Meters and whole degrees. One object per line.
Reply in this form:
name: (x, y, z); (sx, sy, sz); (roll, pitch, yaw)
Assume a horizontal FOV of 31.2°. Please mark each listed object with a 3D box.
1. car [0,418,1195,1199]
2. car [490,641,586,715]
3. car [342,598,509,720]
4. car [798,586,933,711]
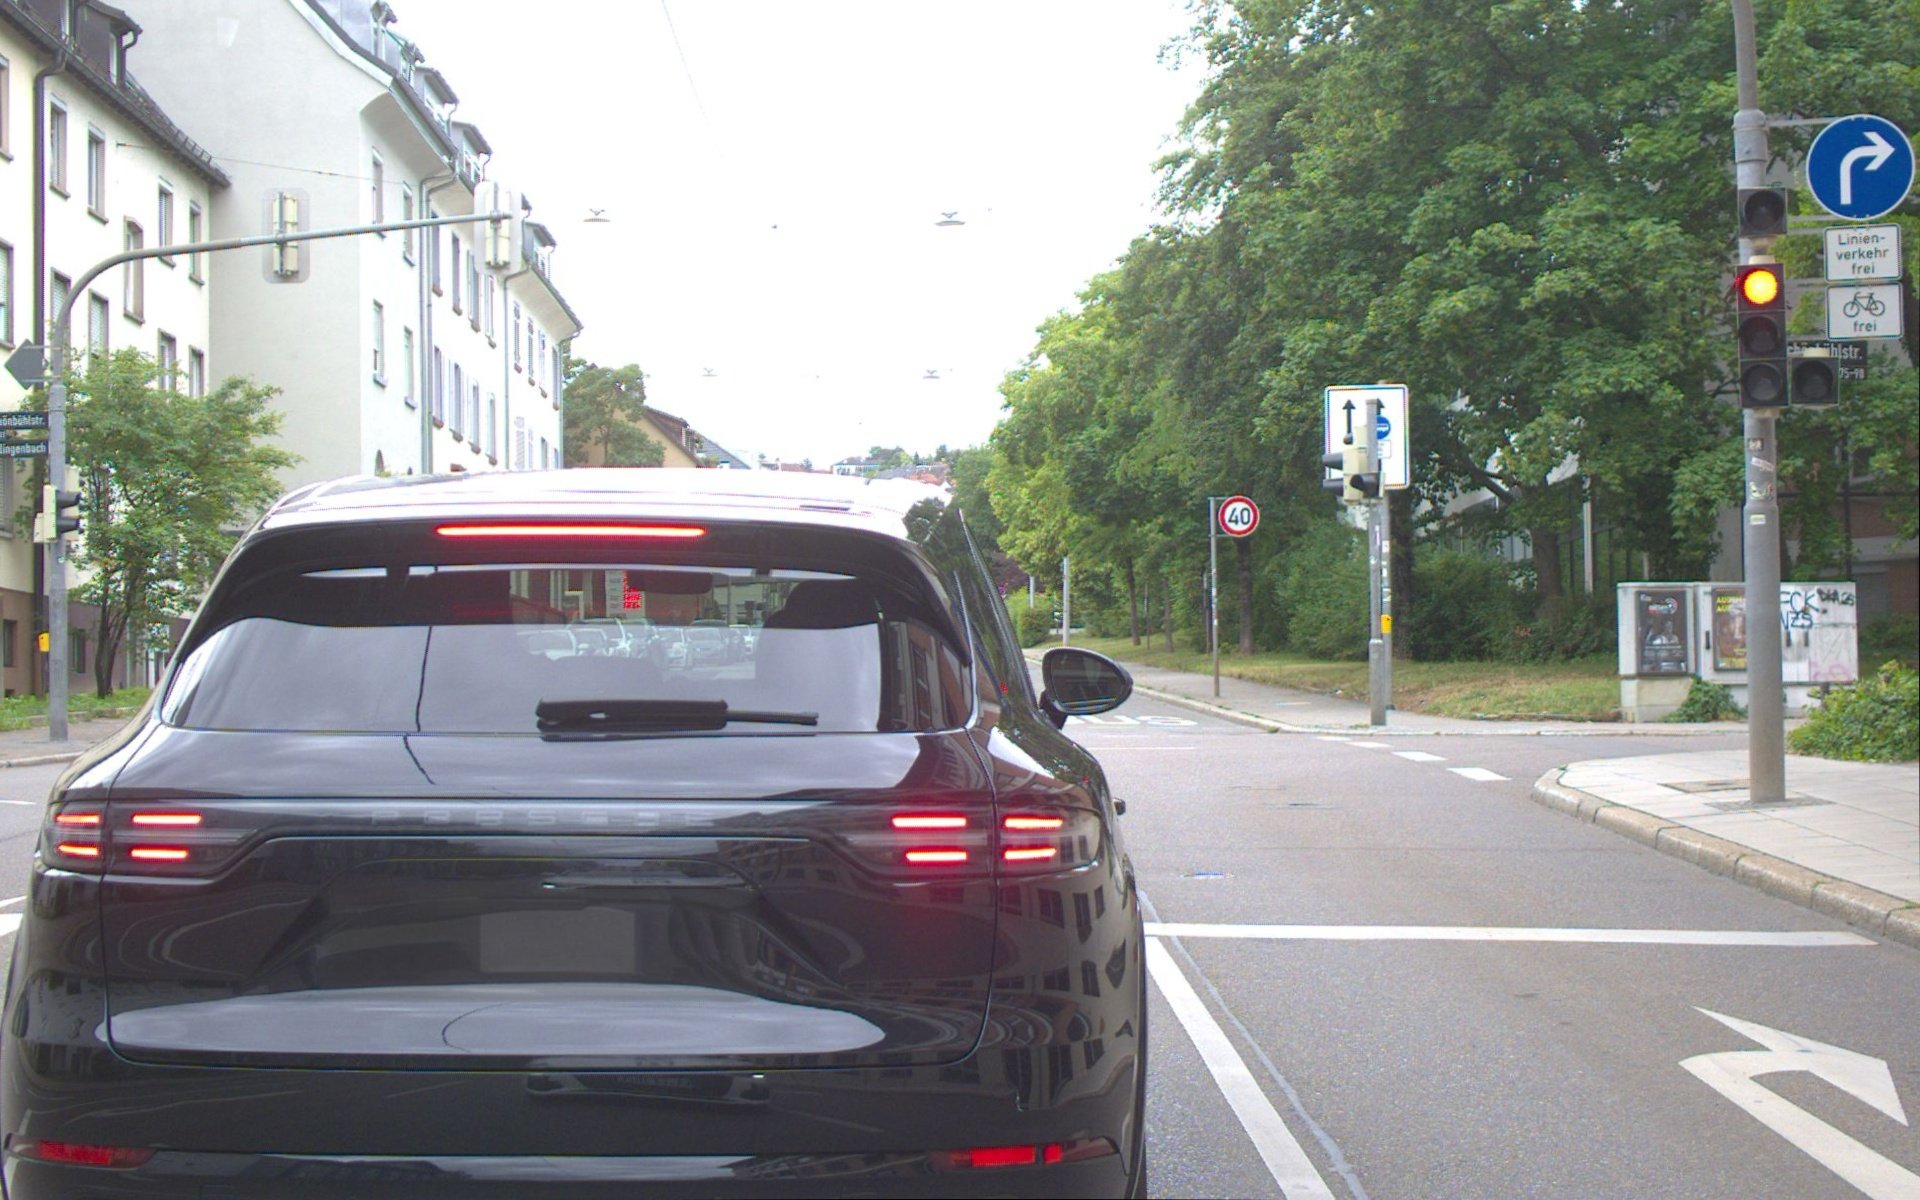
car: (-0.678, 0.564, 7.146); (1.993, 1.691, 4.000); (1, 1, -1)
car: (-8.526, 1.555, 69.704); (1.669, 1.357, 4.001); (0, 1, -3)
car: (-7.480, 0.798, 48.400); (1.664, 1.514, 3.740); (-4, 0, 0)
car: (-1.254, 0.604, 45.555); (1.688, 1.547, 3.889); (1, 1, -2)
